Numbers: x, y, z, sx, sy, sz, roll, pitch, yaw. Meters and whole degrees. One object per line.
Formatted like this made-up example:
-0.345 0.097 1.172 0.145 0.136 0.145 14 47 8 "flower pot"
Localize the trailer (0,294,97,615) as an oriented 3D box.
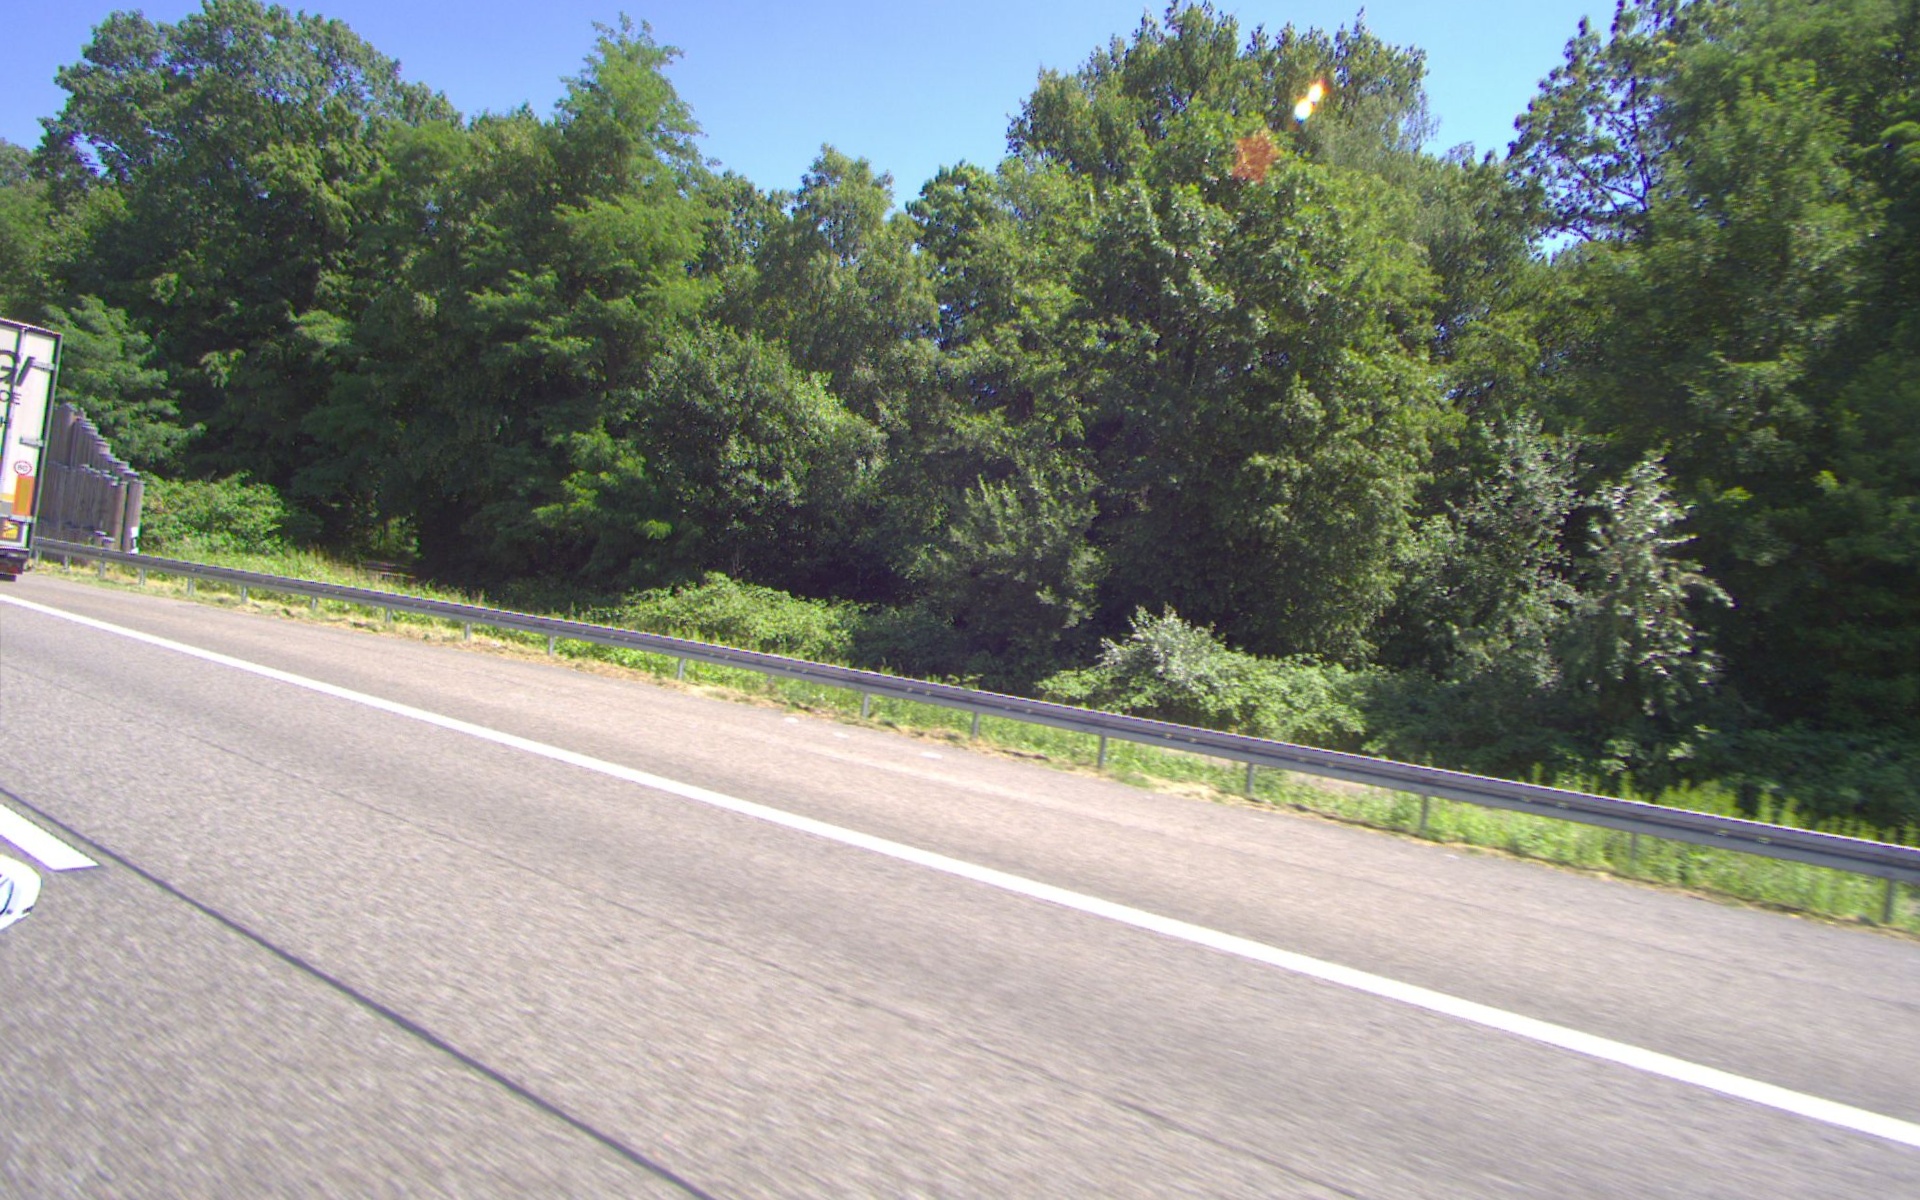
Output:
-19.259 -2.720 16.895 13.195 4.339 2.999 6 -1 32 "trailer"
